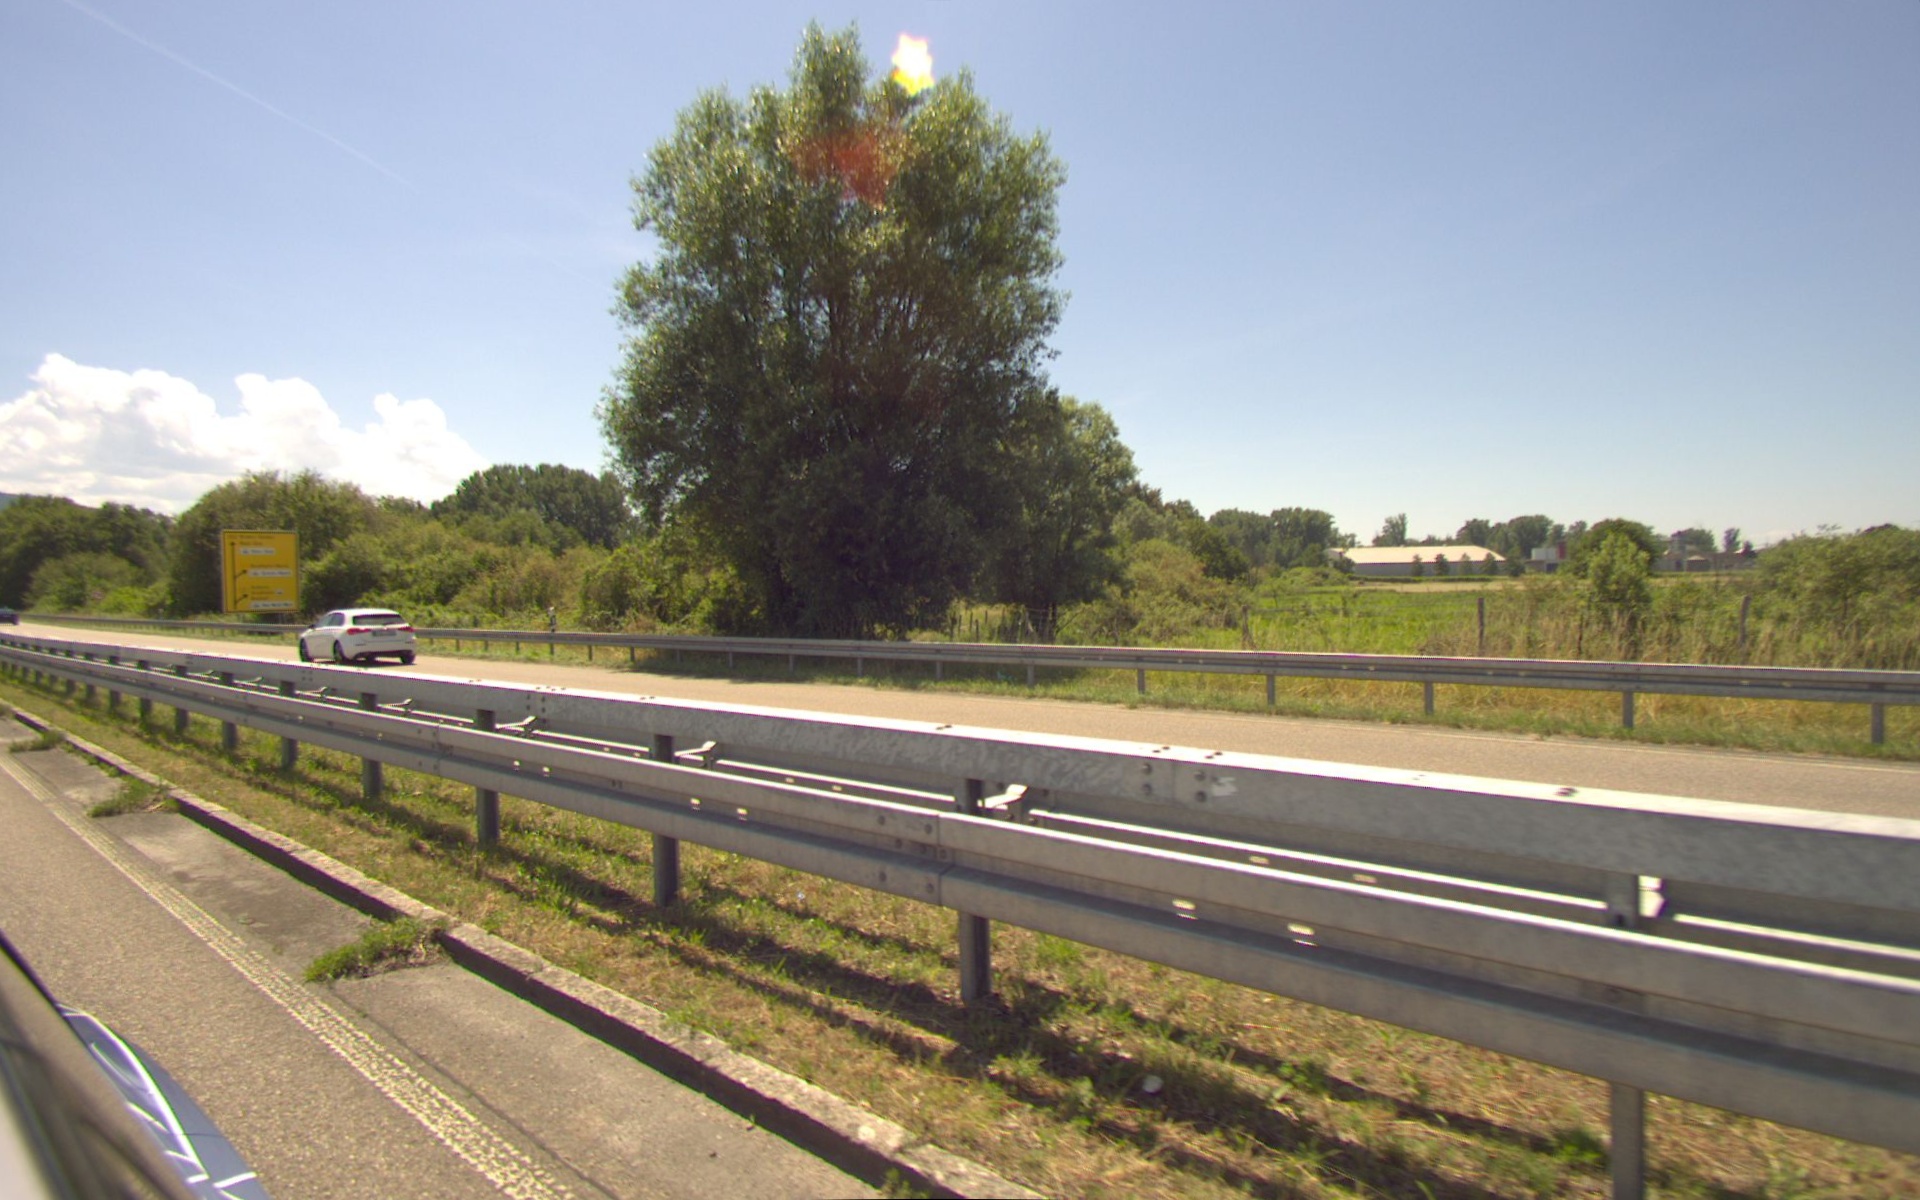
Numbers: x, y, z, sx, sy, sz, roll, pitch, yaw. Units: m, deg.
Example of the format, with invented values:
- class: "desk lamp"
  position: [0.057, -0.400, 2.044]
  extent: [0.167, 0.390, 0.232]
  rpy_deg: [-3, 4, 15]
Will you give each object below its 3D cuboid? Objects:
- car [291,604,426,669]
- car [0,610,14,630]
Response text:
- class: "car"
  position: [-15.773, 0.913, 26.471]
  extent: [4.100, 1.509, 1.808]
  rpy_deg: [-1, 1, 41]
- class: "car"
  position: [-83.143, 1.768, 87.195]
  extent: [4.872, 1.649, 1.973]
  rpy_deg: [-1, 3, 42]
